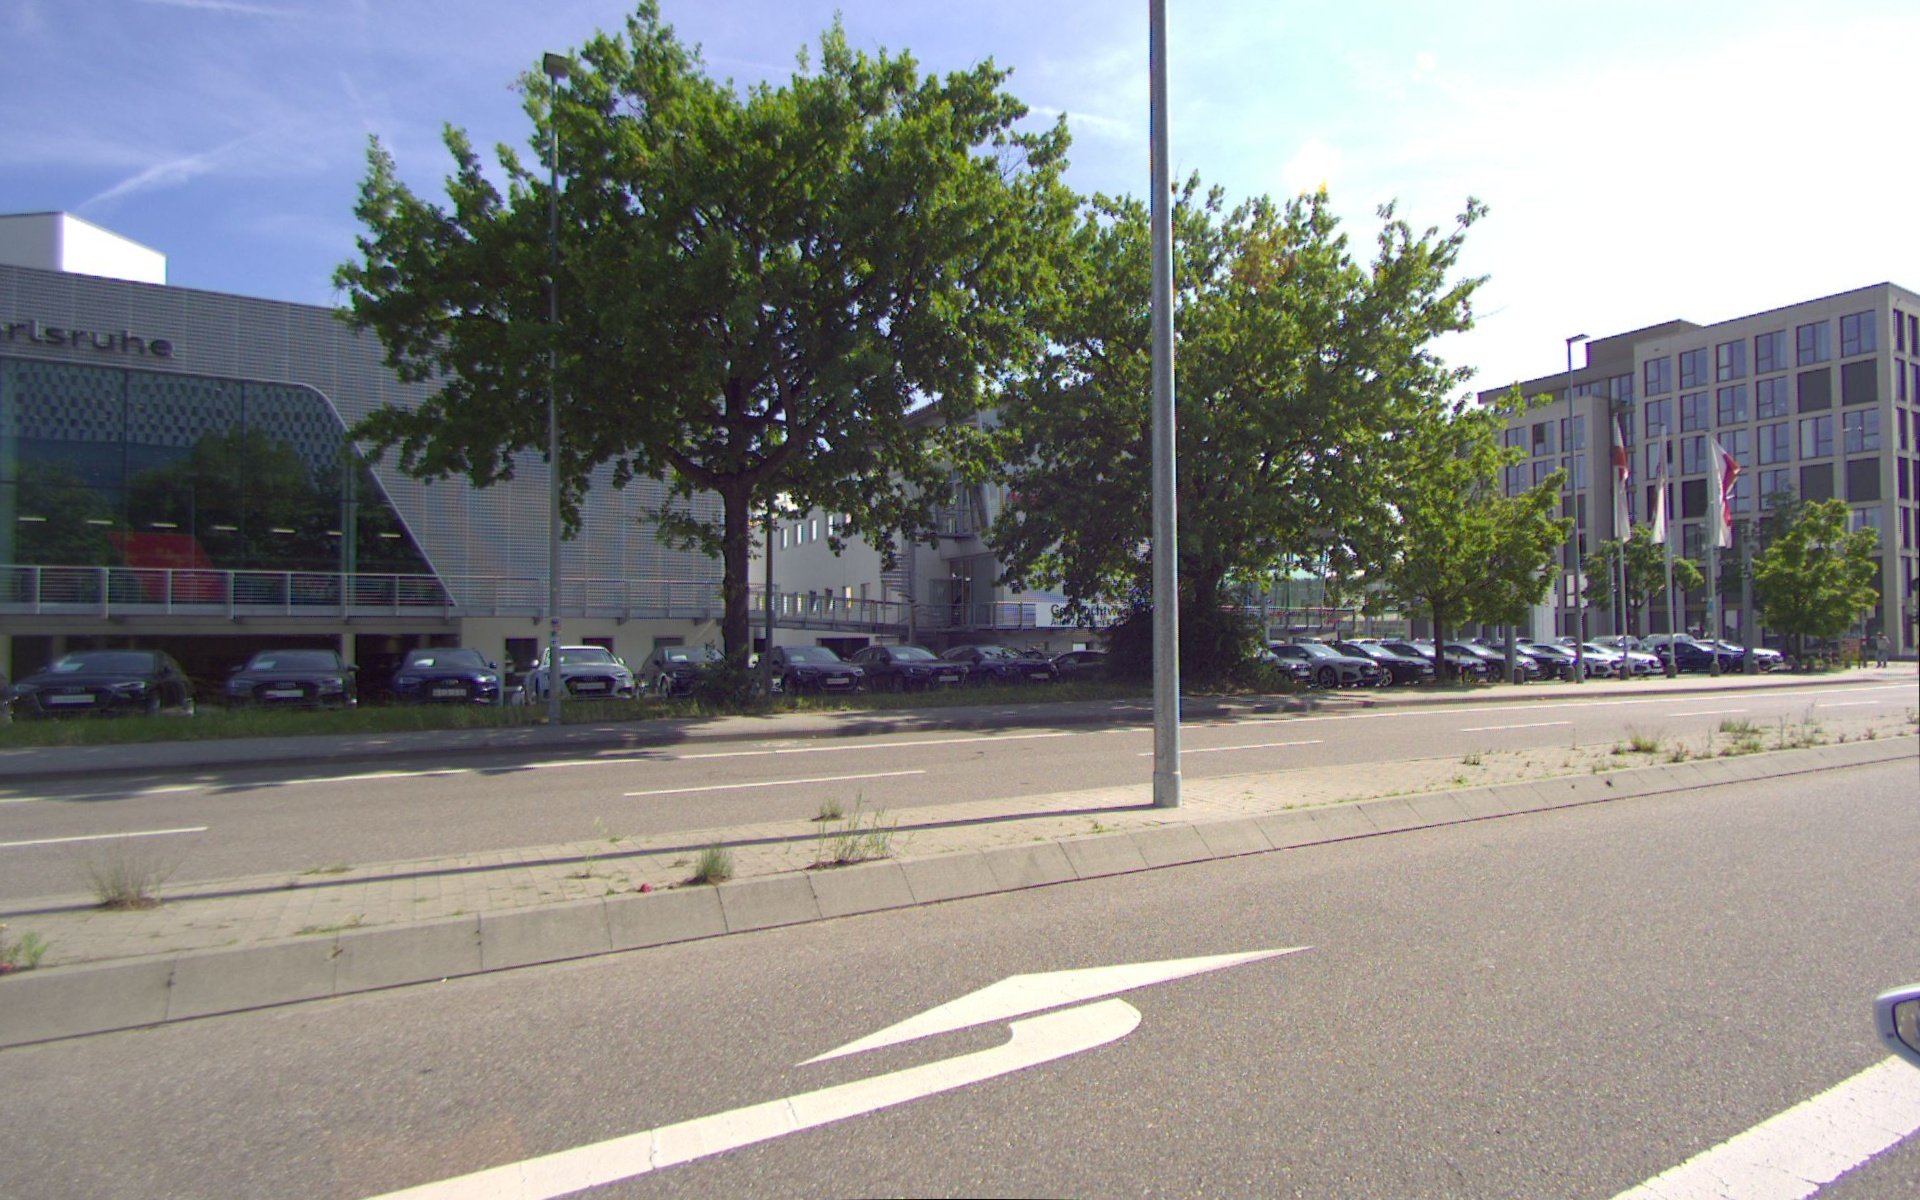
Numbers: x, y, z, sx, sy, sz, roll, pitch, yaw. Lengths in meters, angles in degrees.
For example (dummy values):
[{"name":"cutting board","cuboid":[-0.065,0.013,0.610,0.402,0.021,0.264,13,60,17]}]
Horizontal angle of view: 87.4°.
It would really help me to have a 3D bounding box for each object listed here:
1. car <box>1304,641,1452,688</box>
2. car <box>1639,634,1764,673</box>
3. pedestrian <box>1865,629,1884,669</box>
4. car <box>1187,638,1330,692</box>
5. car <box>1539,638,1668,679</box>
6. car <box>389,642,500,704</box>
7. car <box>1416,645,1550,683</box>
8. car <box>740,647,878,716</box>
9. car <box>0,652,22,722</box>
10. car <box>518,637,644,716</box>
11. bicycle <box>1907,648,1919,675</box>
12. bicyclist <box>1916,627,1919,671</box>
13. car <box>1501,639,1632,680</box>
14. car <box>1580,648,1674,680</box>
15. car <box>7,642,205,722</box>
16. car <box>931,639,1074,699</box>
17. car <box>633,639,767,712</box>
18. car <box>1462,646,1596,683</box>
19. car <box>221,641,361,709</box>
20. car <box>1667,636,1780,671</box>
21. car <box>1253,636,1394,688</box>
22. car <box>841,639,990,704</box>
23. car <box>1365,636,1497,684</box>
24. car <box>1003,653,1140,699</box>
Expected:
[{"name":"car","cuboid":[13.575,2.147,32.863,2.010,1.348,4.156,0,-5,-26]},{"name":"car","cuboid":[31.829,2.317,43.218,1.844,1.483,3.862,0,-5,-27]},{"name":"pedestrian","cuboid":[47.385,2.543,52.036,0.568,2.040,0.557,1,-1,-24]},{"name":"car","cuboid":[8.858,1.982,30.142,1.886,1.437,3.977,0,-5,-26]},{"name":"car","cuboid":[25.219,2.324,39.499,1.725,1.382,3.865,0,-5,-25]},{"name":"car","cuboid":[-10.109,1.463,19.564,1.677,1.047,4.090,1,-6,-31]},{"name":"car","cuboid":[18.312,2.270,35.367,1.771,1.167,3.865,0,-5,-26]},{"name":"car","cuboid":[-3.713,1.983,24.037,1.975,1.460,4.125,1,-6,-28]},{"name":"car","cuboid":[-17.042,1.412,16.190,1.933,1.205,4.155,1,-6,-31]},{"name":"car","cuboid":[-8.018,1.638,21.031,1.975,1.460,3.973,1,-6,-28]},{"name":"bicycle","cuboid":[34.411,2.165,35.576,1.949,0.953,0.677,1,-3,-29]},{"name":"bicyclist","cuboid":[34.621,1.736,35.708,1.023,1.546,0.616,1,-3,-29]},{"name":"car","cuboid":[22.979,2.291,38.209,1.824,1.350,3.865,0,-5,-26]},{"name":"car","cuboid":[27.869,2.677,41.958,3.387,1.189,1.850,0,-5,-29]},{"name":"car","cuboid":[-14.677,1.454,17.536,1.933,1.205,4.155,1,-6,-31]},{"name":"car","cuboid":[1.024,1.850,26.445,1.975,1.376,3.973,1,-6,-28]},{"name":"car","cuboid":[-5.932,1.742,22.528,1.975,1.460,4.234,1,-6,-28]},{"name":"car","cuboid":[20.757,2.383,36.799,1.886,1.181,3.865,0,-5,-26]},{"name":"car","cuboid":[-12.282,1.428,18.688,1.933,1.091,4.155,1,-6,-31]},{"name":"car","cuboid":[33.643,2.376,44.347,1.620,1.375,3.581,0,-5,-28]},{"name":"car","cuboid":[11.194,1.962,31.172,1.886,1.437,3.865,0,-5,-26]},{"name":"car","cuboid":[-1.218,1.839,25.274,2.027,1.460,4.288,1,-6,-29]},{"name":"car","cuboid":[15.929,2.071,34.156,1.637,1.437,3.865,0,-5,-25]},{"name":"car","cuboid":[3.454,2.387,31.351,3.930,1.272,1.588,-5,-5,30]}]
